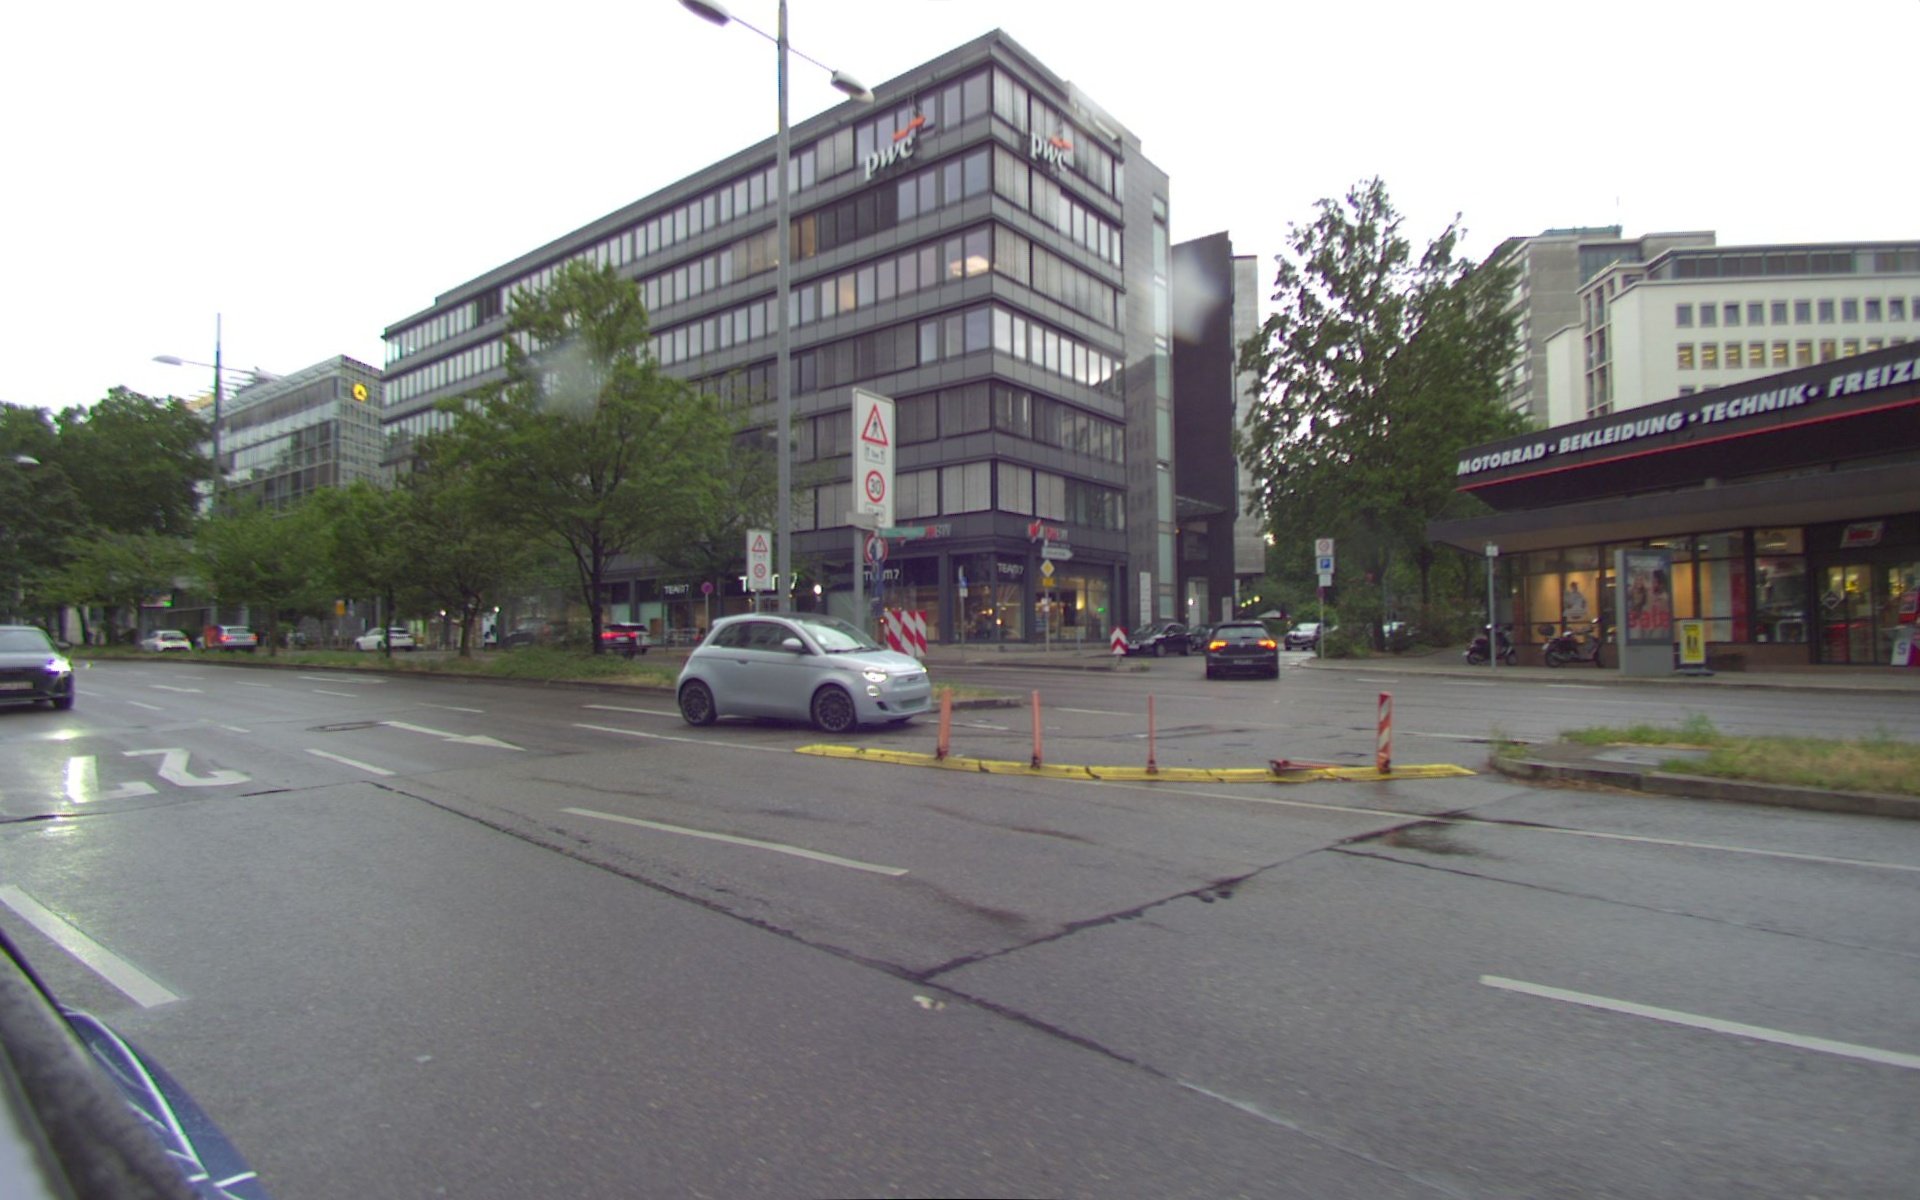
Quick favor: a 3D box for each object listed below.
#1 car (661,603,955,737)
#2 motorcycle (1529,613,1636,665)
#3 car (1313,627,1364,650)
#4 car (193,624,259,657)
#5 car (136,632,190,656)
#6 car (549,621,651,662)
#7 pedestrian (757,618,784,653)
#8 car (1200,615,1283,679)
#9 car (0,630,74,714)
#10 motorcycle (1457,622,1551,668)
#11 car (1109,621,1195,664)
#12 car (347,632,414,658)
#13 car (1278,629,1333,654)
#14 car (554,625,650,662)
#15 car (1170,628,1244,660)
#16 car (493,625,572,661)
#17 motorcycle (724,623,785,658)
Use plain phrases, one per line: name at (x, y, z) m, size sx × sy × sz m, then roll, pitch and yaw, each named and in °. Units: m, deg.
car at (-2.099, 0.890, 13.738) m, size 3.677 × 1.585 × 1.770 m, roll -2°, pitch -2°, yaw 31°
motorcycle at (17.649, 1.083, 28.691) m, size 2.844 × 1.384 × 0.806 m, roll -1°, pitch -1°, yaw -15°
car at (23.623, 2.389, 63.042) m, size 1.845 × 1.298 × 3.948 m, roll -1°, pitch -1°, yaw 39°
car at (-41.980, 2.315, 57.873) m, size 4.484 × 1.741 × 1.722 m, roll -2°, pitch -1°, yaw 36°
car at (-49.817, 2.728, 63.253) m, size 4.076 × 1.442 × 1.667 m, roll -2°, pitch -2°, yaw 37°
car at (-14.372, 1.630, 40.295) m, size 4.482 × 1.556 × 1.972 m, roll -2°, pitch -2°, yaw 43°
pedestrian at (-8.836, 1.653, 47.216) m, size 0.964 × 1.650 × 0.776 m, roll -2°, pitch -2°, yaw 38°
car at (7.244, 1.144, 25.936) m, size 1.829 × 1.462 × 4.662 m, roll -1°, pitch -1°, yaw 17°
car at (-18.194, 1.306, 18.820) m, size 4.283 × 1.446 × 1.917 m, roll -2°, pitch -2°, yaw 40°
motorcycle at (17.005, 1.390, 31.635) m, size 2.773 × 1.343 × 0.725 m, roll -1°, pitch -1°, yaw -14°
car at (8.219, 1.759, 43.128) m, size 1.997 × 1.652 × 3.949 m, roll -1°, pitch -1°, yaw 38°
car at (-34.152, 2.637, 59.619) m, size 4.300 × 1.455 × 1.793 m, roll -2°, pitch -1°, yaw 35°
car at (20.058, 2.400, 58.721) m, size 1.844 × 1.298 × 3.950 m, roll -1°, pitch -1°, yaw 37°
car at (-16.235, 1.959, 45.771) m, size 4.766 × 1.496 × 1.791 m, roll -2°, pitch 1°, yaw 38°
car at (11.423, 1.991, 46.662) m, size 1.845 × 1.298 × 3.948 m, roll -1°, pitch -1°, yaw 38°
car at (-21.010, 2.089, 49.626) m, size 4.306 × 1.673 × 1.790 m, roll -2°, pitch -1°, yaw 40°
motorcycle at (-8.703, 1.723, 42.915) m, size 2.345 × 1.404 × 0.856 m, roll -1°, pitch 1°, yaw 12°
